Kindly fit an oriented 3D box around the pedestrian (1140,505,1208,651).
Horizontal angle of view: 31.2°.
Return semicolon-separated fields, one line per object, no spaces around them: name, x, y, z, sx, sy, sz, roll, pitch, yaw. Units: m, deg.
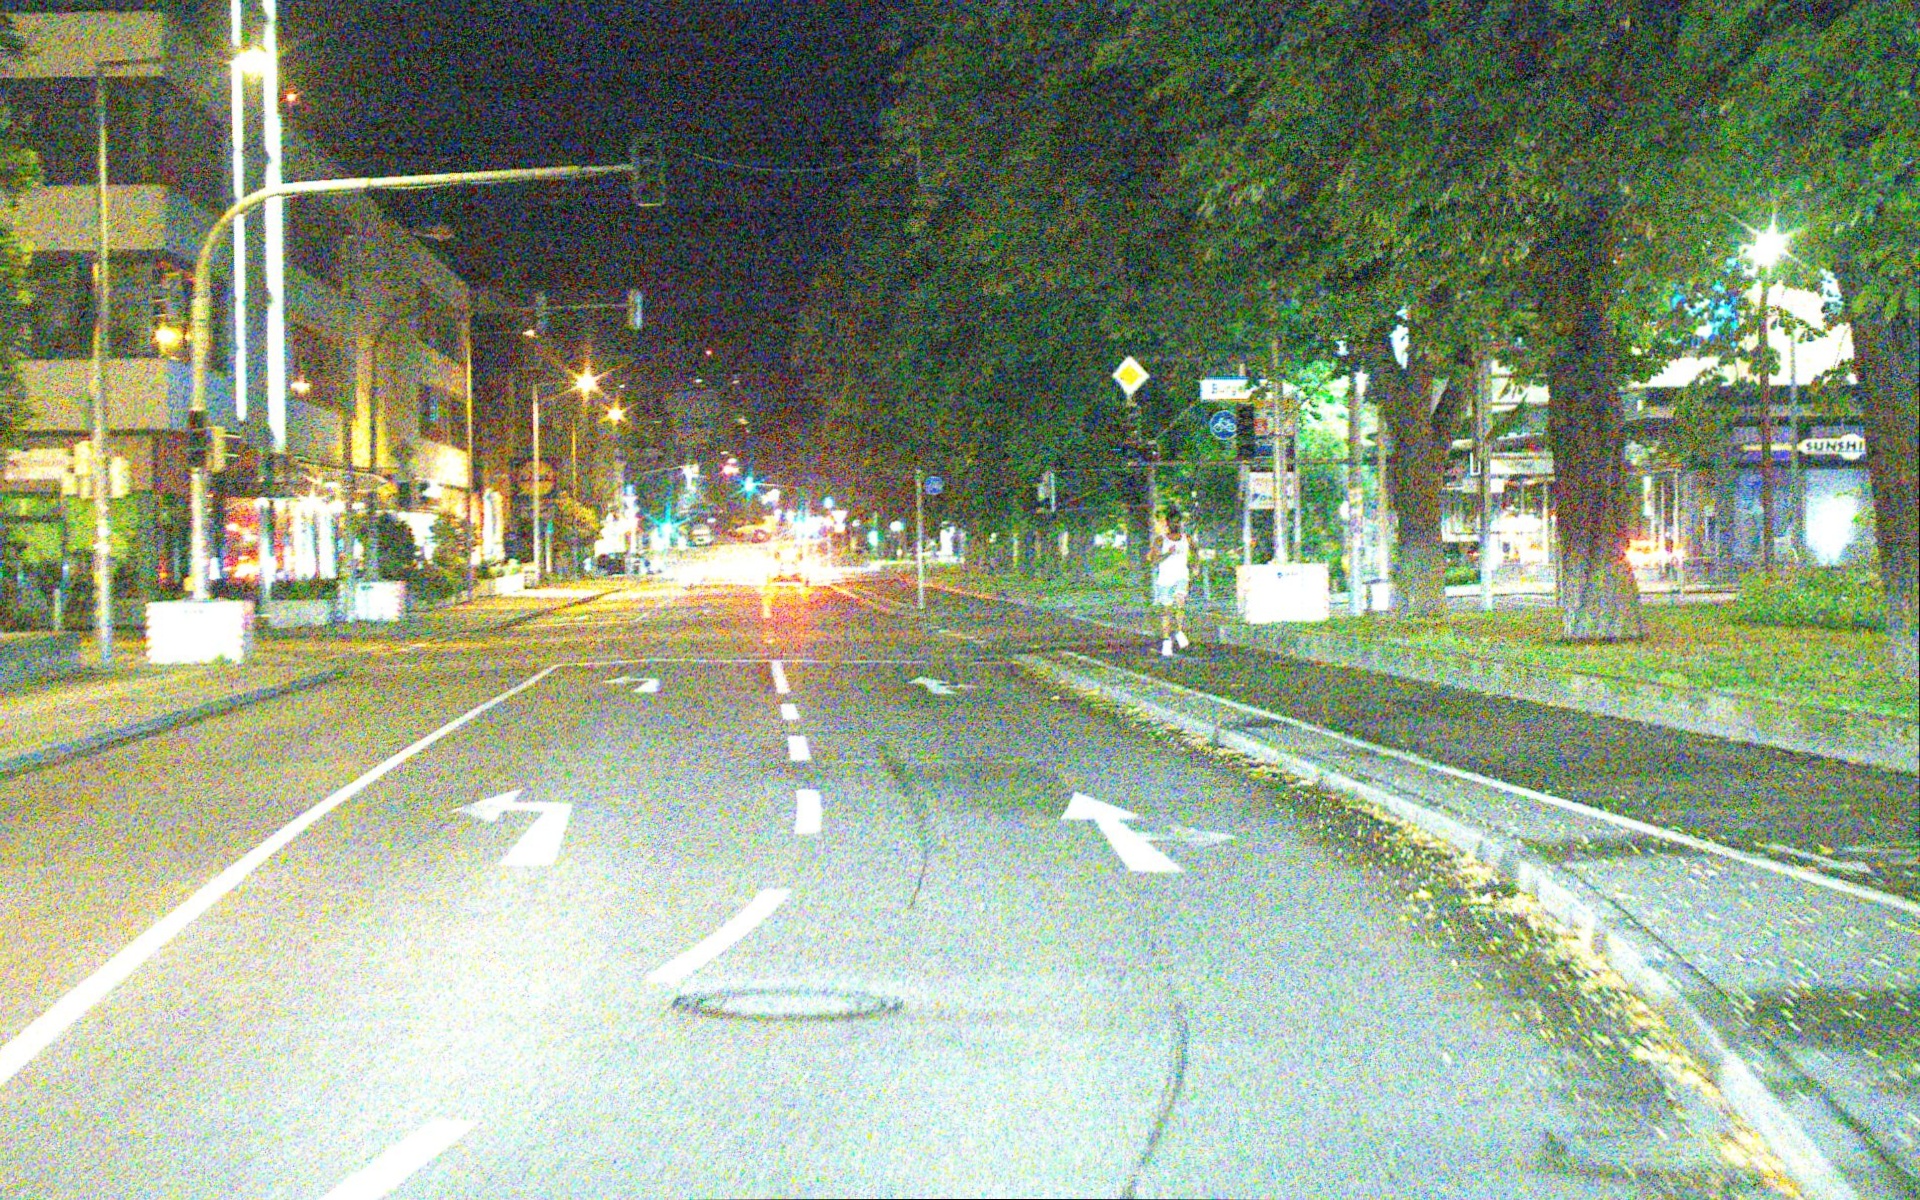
pedestrian;2.719;-0.285;43.786;0.703;1.812;1.082;-2;1;-3

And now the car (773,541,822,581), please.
car;-6.950;-1.684;146.884;1.993;1.637;4.001;-2;1;-4
